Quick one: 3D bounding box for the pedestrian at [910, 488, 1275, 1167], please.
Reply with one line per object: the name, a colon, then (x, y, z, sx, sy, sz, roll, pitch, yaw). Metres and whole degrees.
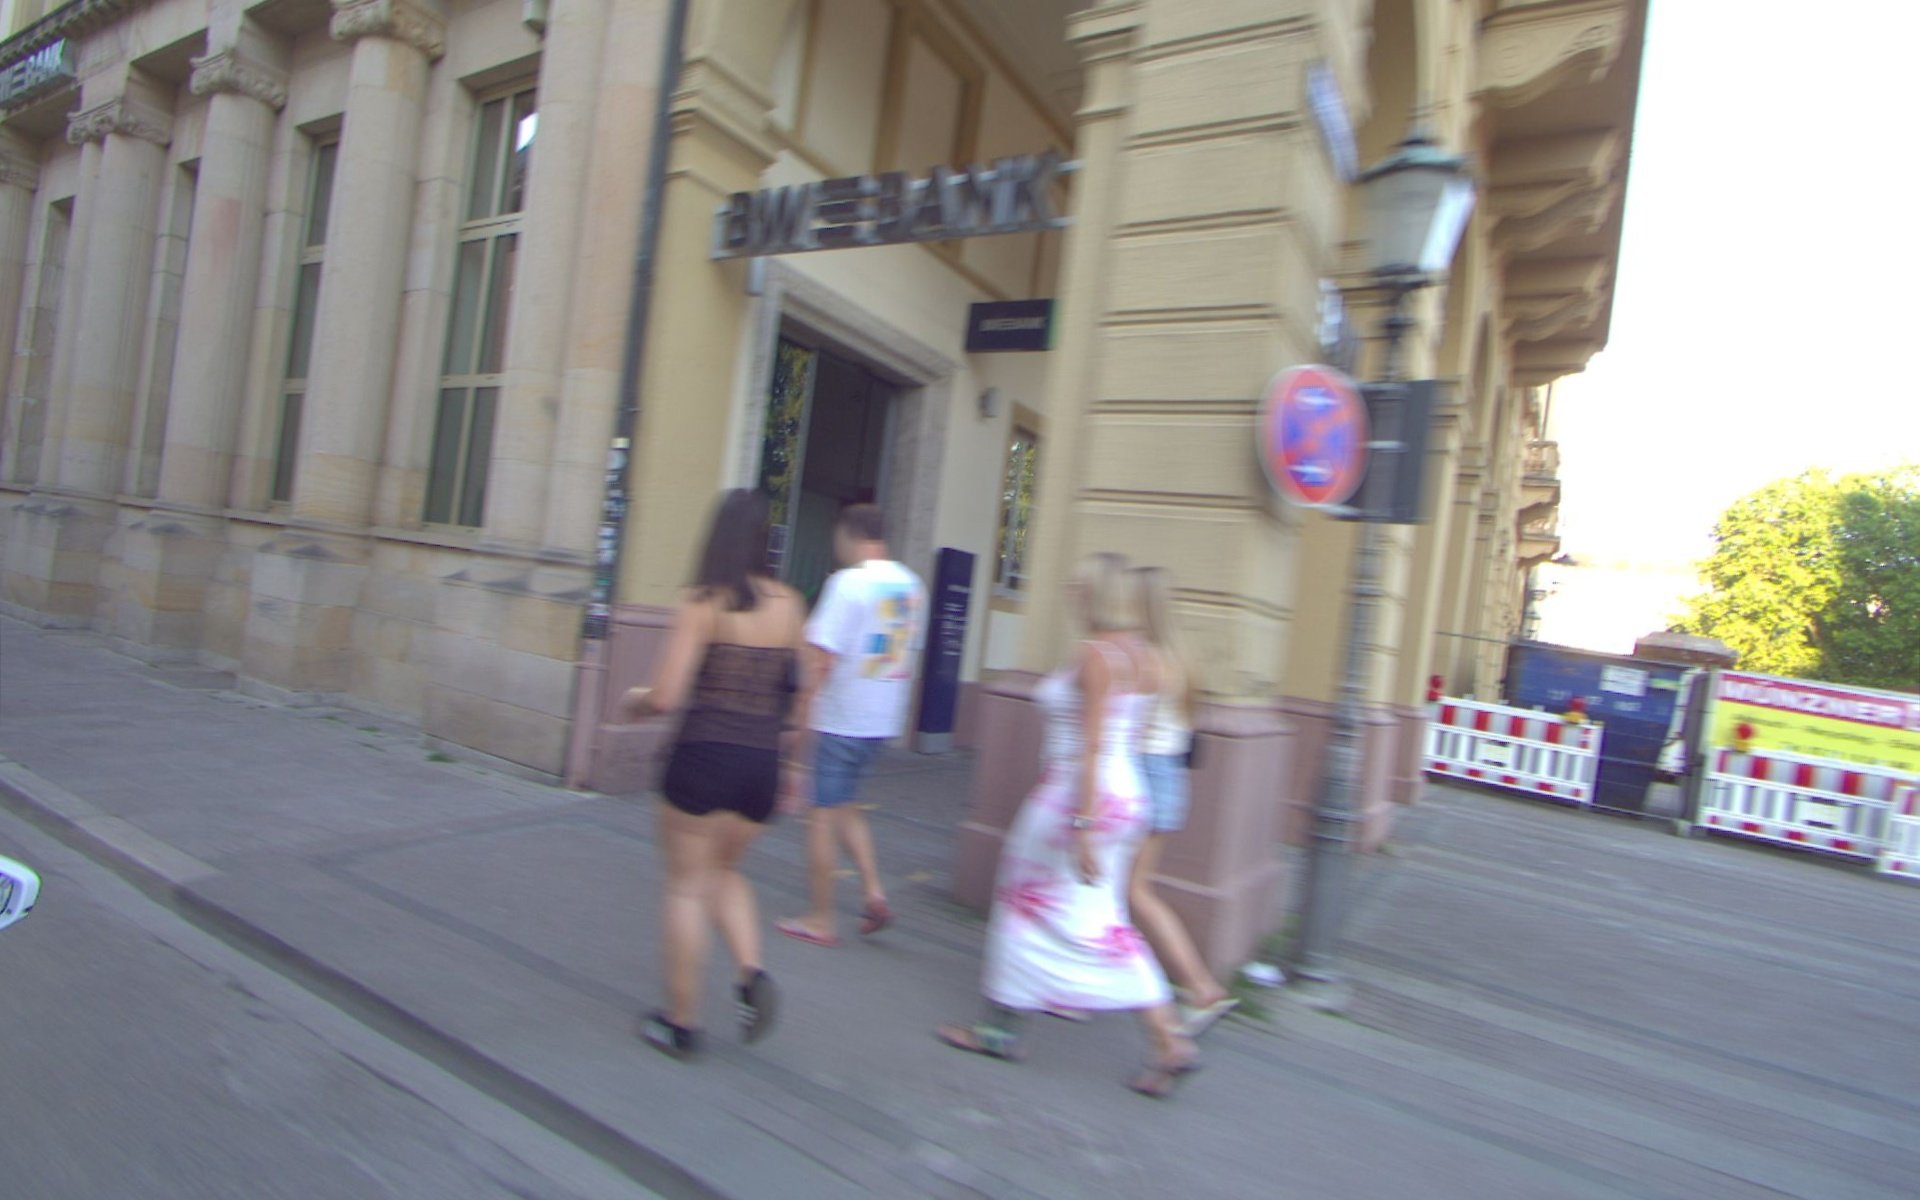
pedestrian: (0.437, 0.623, 3.202, 0.759, 1.825, 0.637, 7, 0, 31)

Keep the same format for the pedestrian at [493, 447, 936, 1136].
pedestrian: (-0.743, 0.493, 3.144, 0.860, 1.767, 0.777, 7, 0, 31)

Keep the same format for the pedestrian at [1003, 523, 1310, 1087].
pedestrian: (0.750, 0.687, 3.780, 0.759, 1.825, 0.637, 7, 0, 31)

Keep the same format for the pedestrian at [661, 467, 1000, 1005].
pedestrian: (-0.512, 0.488, 4.143, 0.860, 1.898, 0.813, 7, 0, 31)
